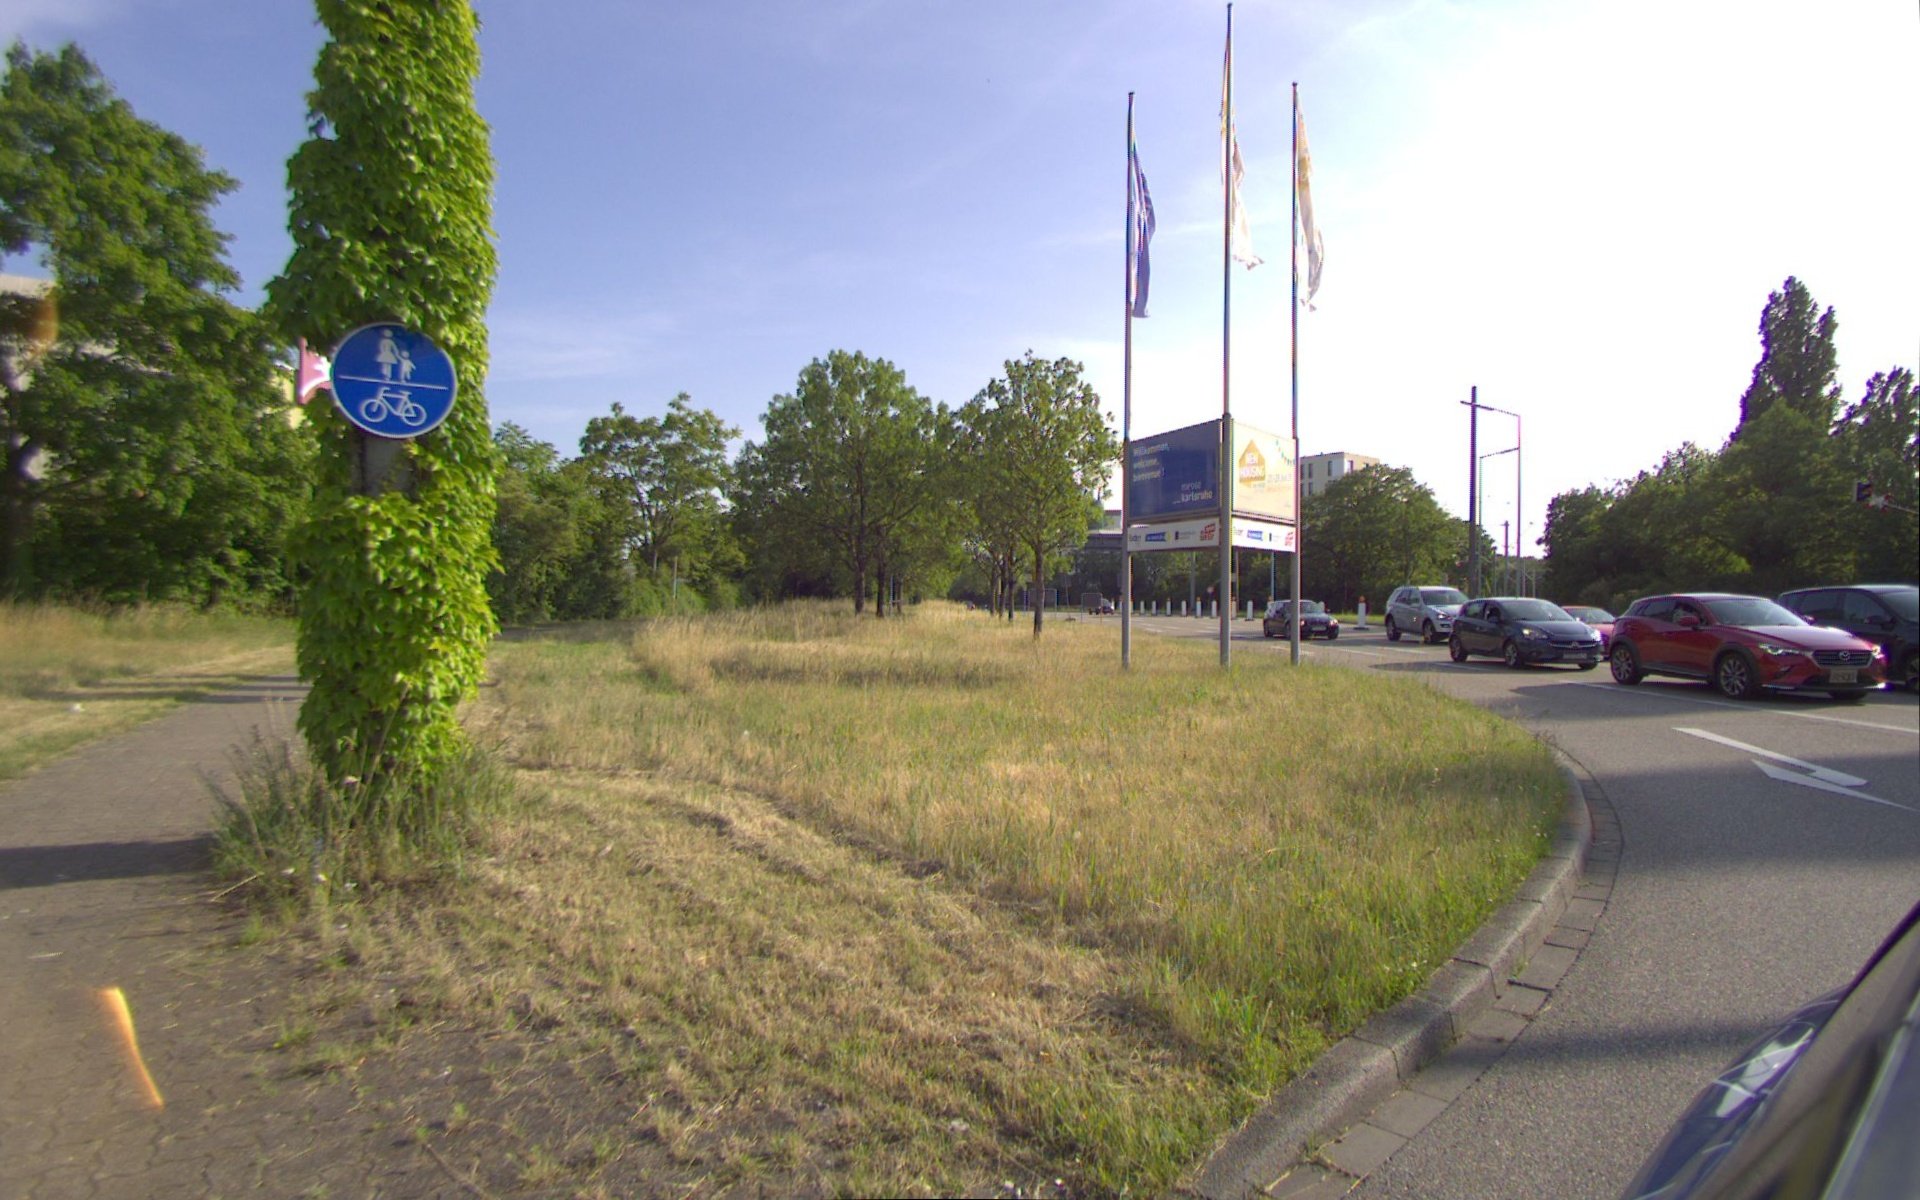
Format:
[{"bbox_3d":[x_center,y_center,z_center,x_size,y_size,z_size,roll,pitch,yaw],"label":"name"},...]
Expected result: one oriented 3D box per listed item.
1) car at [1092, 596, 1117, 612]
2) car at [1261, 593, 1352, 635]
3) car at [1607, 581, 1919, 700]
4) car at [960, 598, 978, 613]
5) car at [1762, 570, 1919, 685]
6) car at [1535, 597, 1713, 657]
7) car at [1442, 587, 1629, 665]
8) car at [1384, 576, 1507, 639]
[{"bbox_3d":[13.523,0.351,94.653,1.861,1.474,3.908,0,0,2],"label":"car"},{"bbox_3d":[12.582,0.486,37.036,1.867,1.403,4.354,-2,0,1],"label":"car"},{"bbox_3d":[11.988,0.532,15.482,1.680,1.571,3.976,0,0,1],"label":"car"},{"bbox_3d":[1.280,0.784,151.971,1.823,2.039,4.186,-2,1,-12],"label":"car"},{"bbox_3d":[14.956,0.397,15.722,1.736,1.692,4.083,0,0,0],"label":"car"},{"bbox_3d":[15.360,0.579,23.679,1.705,1.222,3.844,-2,0,3],"label":"car"},{"bbox_3d":[12.245,0.504,21.883,1.715,1.524,4.220,0,0,2],"label":"car"},{"bbox_3d":[15.452,0.222,32.510,1.867,1.847,4.354,-2,0,1],"label":"car"}]
